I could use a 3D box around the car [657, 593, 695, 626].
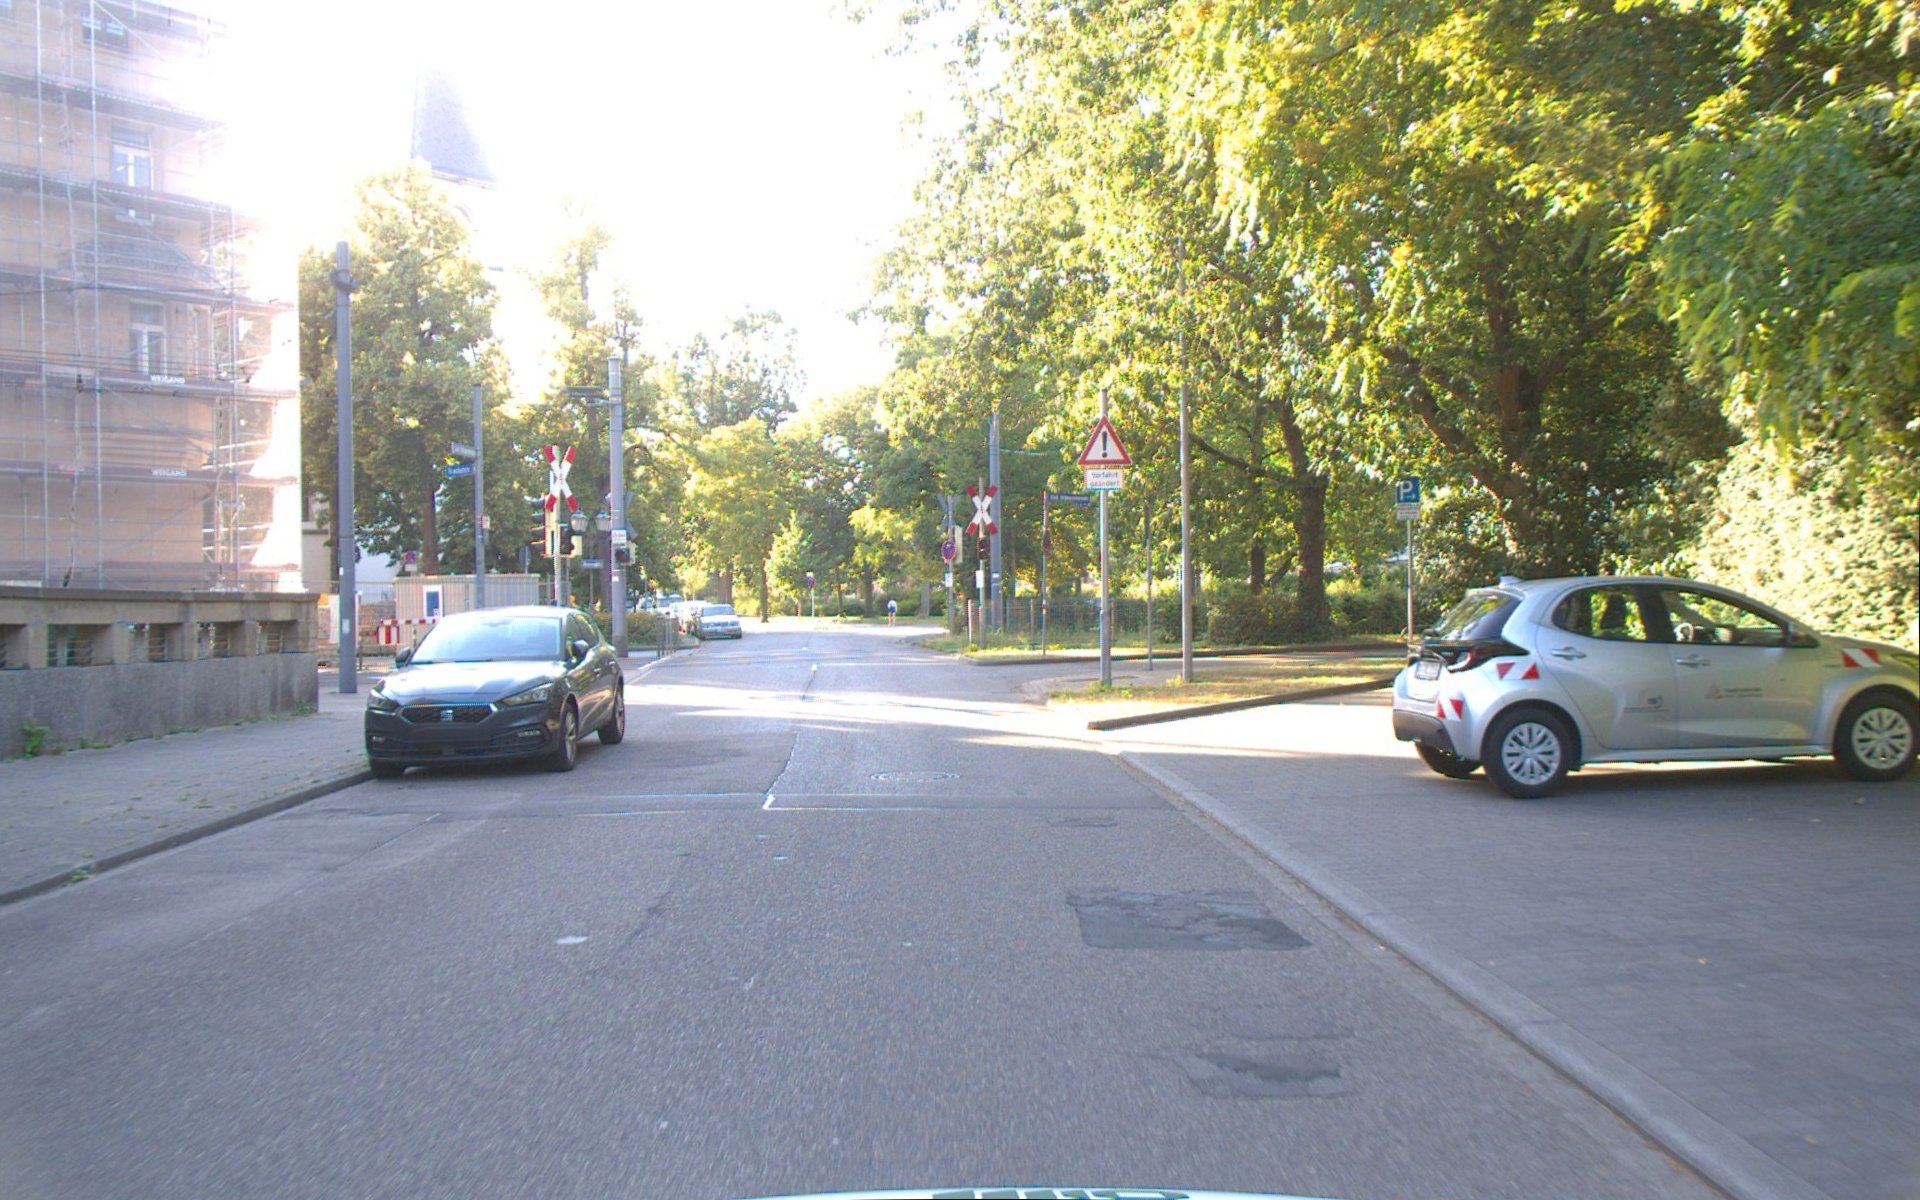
[{"bbox_3d":[-17.561,0.563,102.121,1.820,1.980,4.821,-1,0,-15],"label":"car"}]

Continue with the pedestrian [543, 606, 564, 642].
[{"bbox_3d":[-14.458,0.837,58.830,0.539,1.254,0.725,-1,0,2],"label":"pedestrian"}]

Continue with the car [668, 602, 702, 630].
[{"bbox_3d":[-15.625,0.883,93.882,1.589,1.527,3.681,-1,0,-15],"label":"car"}]

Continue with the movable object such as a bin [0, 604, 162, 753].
[{"bbox_3d":[-9.677,0.815,17.902,1.121,1.512,1.629,-1,0,8],"label":"movable object such as a bin"}]

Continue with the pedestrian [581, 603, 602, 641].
[{"bbox_3d":[-13.173,0.784,59.167,0.539,1.320,0.766,-1,0,2],"label":"pedestrian"}]

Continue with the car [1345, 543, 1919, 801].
[{"bbox_3d":[5.049,0.482,12.240,3.907,1.573,1.734,-3,0,-3],"label":"car"}]

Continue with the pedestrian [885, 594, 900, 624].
[{"bbox_3d":[-3.744,0.505,91.329,0.758,1.602,0.767,-1,0,-6],"label":"pedestrian"}]

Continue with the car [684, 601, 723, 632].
[{"bbox_3d":[-12.818,0.810,82.521,1.585,1.465,3.593,-2,0,-14],"label":"car"}]

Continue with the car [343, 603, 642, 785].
[{"bbox_3d":[-4.299,0.789,15.899,1.708,1.473,4.207,-1,0,-1],"label":"car"}]

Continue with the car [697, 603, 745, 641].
[{"bbox_3d":[-10.038,0.886,69.315,1.748,1.440,4.486,-3,1,-11],"label":"car"}]
